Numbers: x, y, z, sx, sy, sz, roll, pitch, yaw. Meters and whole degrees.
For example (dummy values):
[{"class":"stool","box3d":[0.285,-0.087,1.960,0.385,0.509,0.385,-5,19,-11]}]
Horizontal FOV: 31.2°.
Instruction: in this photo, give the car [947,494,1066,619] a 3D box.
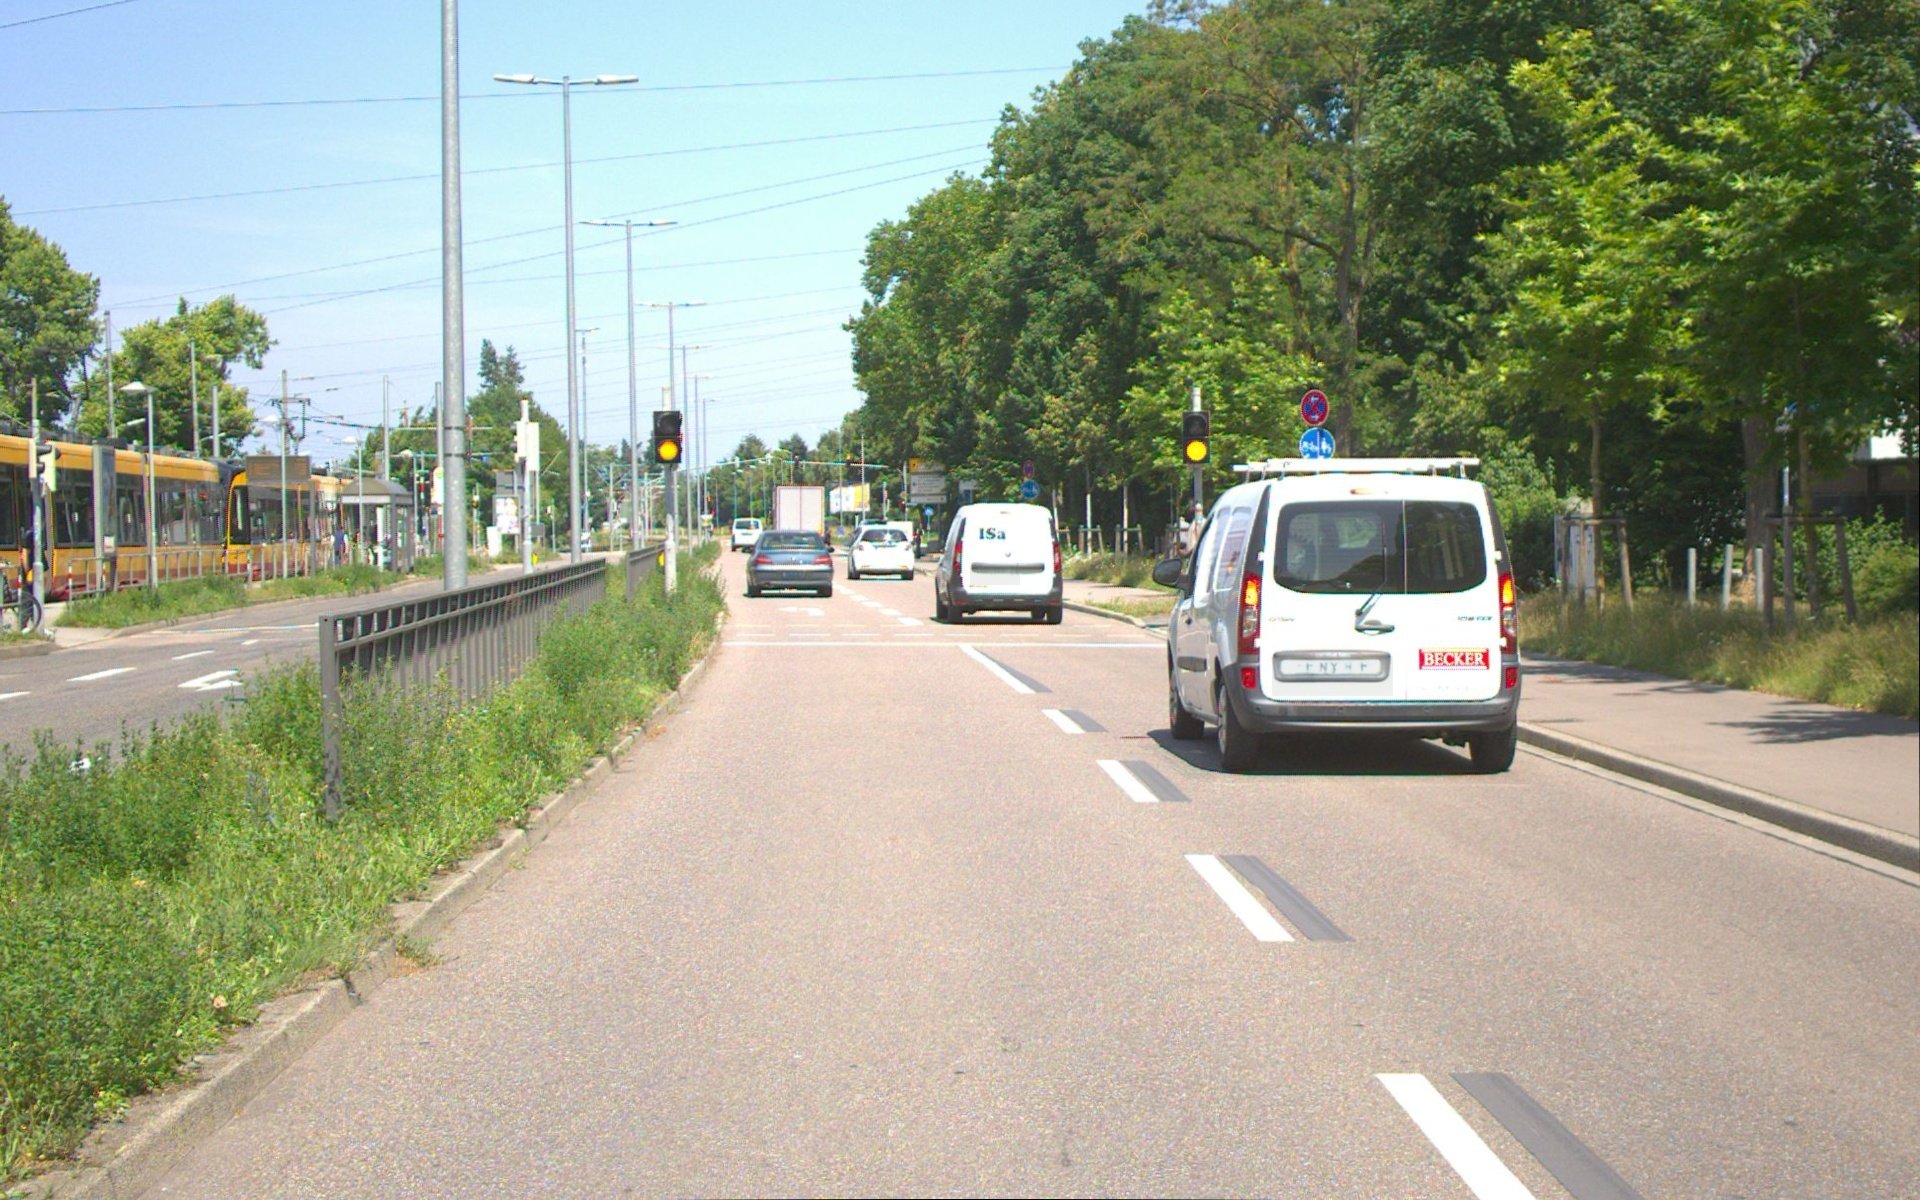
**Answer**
[{"class":"car","box3d":[0.679,-0.693,52.349,1.728,1.807,4.000,1,2,0]}]

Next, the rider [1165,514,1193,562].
[{"class":"rider","box3d":[5.888,-1.672,92.480,0.678,1.277,0.534,0,1,-4]}]

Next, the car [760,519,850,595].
[{"class":"car","box3d":[-3.265,-0.918,71.918,1.801,1.481,4.001,-1,2,-3]}]

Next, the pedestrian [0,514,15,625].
[{"class":"pedestrian","box3d":[-14.431,-0.448,50.593,0.819,1.623,0.705,0,1,2]}]

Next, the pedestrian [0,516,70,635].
[{"class":"pedestrian","box3d":[-14.235,-0.381,52.595,0.959,1.790,0.704,0,1,26]}]

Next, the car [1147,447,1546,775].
[{"class":"car","box3d":[2.342,0.013,21.965,1.824,1.875,4.456,0,1,-3]}]

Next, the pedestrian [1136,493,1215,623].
[{"class":"pedestrian","box3d":[3.086,-0.605,49.151,1.047,1.844,0.757,0,1,9]}]

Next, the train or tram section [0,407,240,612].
[{"class":"train or tram section","box3d":[-19.113,-1.824,71.307,2.787,3.655,37.525,0,1,-4]}]

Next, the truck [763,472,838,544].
[{"class":"truck","box3d":[-8.780,-5.036,188.006,3.898,3.799,10.795,-1,1,-4]}]

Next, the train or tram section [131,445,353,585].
[{"class":"train or tram section","box3d":[-21.085,-2.513,102.998,2.787,3.655,26.003,0,1,-4]}]

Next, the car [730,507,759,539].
[{"class":"car","box3d":[-12.821,-4.575,204.259,1.687,1.891,3.871,-1,1,-4]}]

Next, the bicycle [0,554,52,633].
[{"class":"bicycle","box3d":[-14.297,-0.093,50.458,1.863,1.153,0.242,0,1,2]}]

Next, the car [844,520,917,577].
[{"class":"car","box3d":[-2.219,-1.441,95.134,1.803,1.534,4.001,0,1,-4]}]
